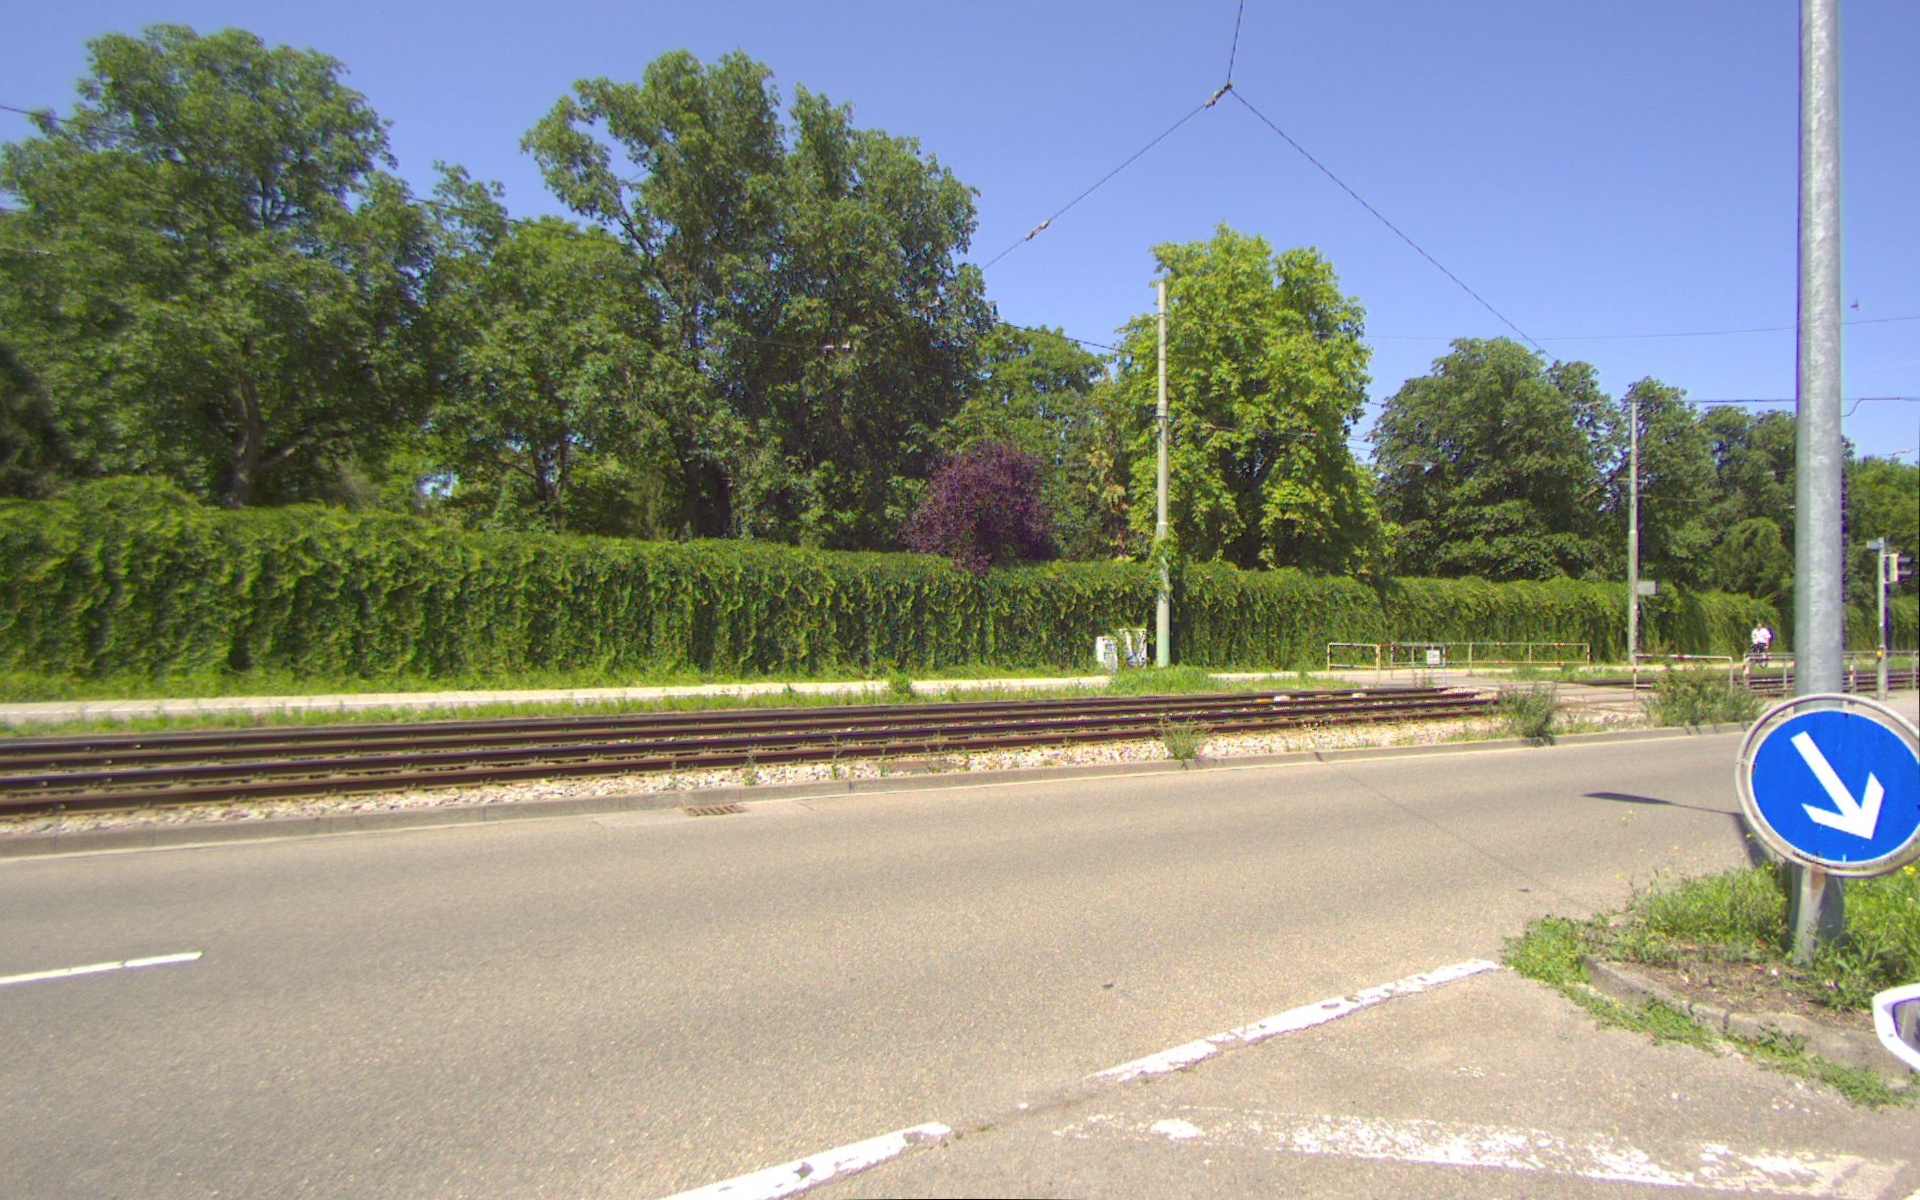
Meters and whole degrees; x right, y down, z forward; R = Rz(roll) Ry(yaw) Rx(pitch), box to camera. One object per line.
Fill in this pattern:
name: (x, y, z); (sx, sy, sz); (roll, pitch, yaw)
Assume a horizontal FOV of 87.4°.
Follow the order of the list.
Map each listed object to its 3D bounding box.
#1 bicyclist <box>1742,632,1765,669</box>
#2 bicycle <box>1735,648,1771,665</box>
bicyclist: (32.081, 2.040, 40.619); (0.555, 1.497, 0.555); (1, -1, -29)
bicycle: (32.078, 2.289, 40.624); (1.699, 0.656, 0.558); (1, -1, -30)
